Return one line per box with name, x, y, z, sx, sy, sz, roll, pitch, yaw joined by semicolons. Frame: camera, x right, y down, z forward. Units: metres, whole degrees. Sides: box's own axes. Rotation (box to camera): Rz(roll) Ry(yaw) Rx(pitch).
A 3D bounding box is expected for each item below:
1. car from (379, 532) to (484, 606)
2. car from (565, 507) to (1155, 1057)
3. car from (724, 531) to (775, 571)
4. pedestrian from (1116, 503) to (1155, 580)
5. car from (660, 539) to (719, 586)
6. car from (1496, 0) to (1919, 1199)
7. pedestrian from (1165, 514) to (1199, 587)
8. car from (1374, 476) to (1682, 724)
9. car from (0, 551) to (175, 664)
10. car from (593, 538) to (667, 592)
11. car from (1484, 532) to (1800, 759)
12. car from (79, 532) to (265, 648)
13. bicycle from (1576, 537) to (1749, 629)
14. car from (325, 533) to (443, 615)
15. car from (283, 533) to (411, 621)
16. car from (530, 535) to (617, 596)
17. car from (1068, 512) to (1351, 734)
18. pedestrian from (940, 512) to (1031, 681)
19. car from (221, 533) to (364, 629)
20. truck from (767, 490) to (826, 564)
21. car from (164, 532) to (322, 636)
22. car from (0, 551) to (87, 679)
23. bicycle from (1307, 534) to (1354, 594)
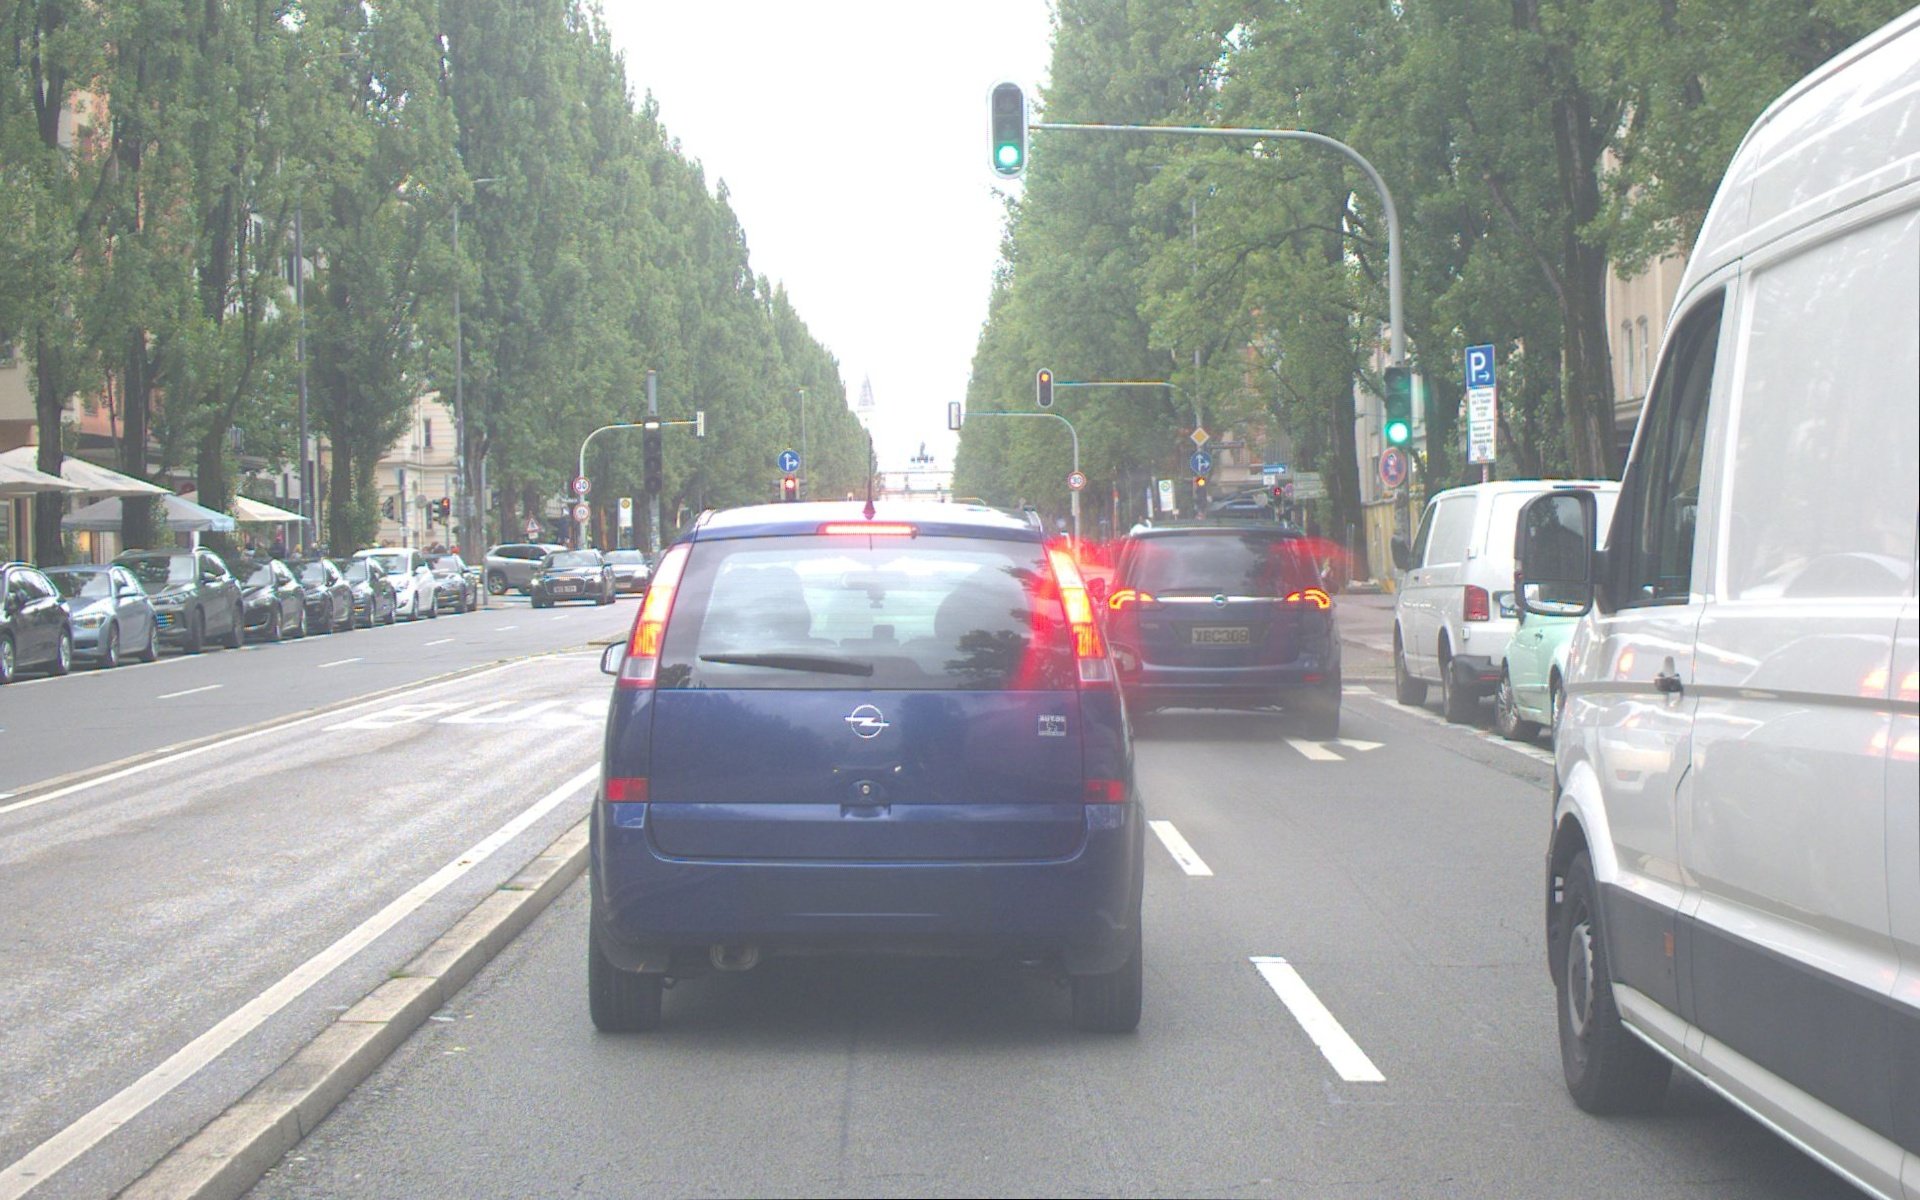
car;-12.723;-0.778;82.910;1.866;1.660;4.120;-2;1;-1
car;-0.297;0.476;11.753;1.671;1.563;4.000;0;1;0
car;-7.952;-1.857;129.934;1.735;1.460;3.365;-1;1;-1
pedestrian;4.196;-1.389;82.299;0.719;1.820;0.888;1;0;-10
car;-9.873;-1.392;125.680;1.866;1.660;4.120;-1;1;-1
car;2.593;0.133;6.527;2.063;2.484;6.731;0;1;0
pedestrian;5.595;-1.256;86.774;0.636;1.820;0.888;1;0;-10
car;4.733;-0.050;29.285;1.787;1.939;4.731;0;1;-1
car;-12.295;0.081;47.958;1.733;1.421;4.144;-2;1;-1
car;-9.555;-1.031;99.704;1.745;1.429;4.130;-2;1;-1
car;4.733;0.269;24.282;1.541;1.487;3.523;0;1;0
car;-12.247;-0.193;53.676;1.866;1.660;4.401;-2;1;-1
bicycle;9.651;-0.236;47.276;2.227;1.200;0.626;-1;1;-2
car;-12.641;-0.596;75.635;1.866;1.660;4.120;-2;1;-1
car;-12.511;-0.497;70.375;1.866;1.660;4.120;-2;1;-1
car;-9.919;-0.908;88.412;1.697;1.457;4.713;-2;1;-1
car;1.877;0.127;26.987;1.896;1.616;4.000;0;1;0
pedestrian;0.251;-0.044;34.692;0.859;1.678;0.627;-1;1;-3
car;-12.552;-0.384;64.849;1.866;1.660;4.120;-2;1;-1
truck;-7.549;-3.382;159.303;2.383;3.335;7.111;-1;1;-1
car;-12.462;-0.313;59.975;1.866;1.660;4.120;-2;1;-1
car;-12.265;0.185;42.548;1.798;1.483;4.351;-2;1;-1
bicycle;8.614;-0.846;80.017;0.772;1.344;2.449;-1;1;-1
